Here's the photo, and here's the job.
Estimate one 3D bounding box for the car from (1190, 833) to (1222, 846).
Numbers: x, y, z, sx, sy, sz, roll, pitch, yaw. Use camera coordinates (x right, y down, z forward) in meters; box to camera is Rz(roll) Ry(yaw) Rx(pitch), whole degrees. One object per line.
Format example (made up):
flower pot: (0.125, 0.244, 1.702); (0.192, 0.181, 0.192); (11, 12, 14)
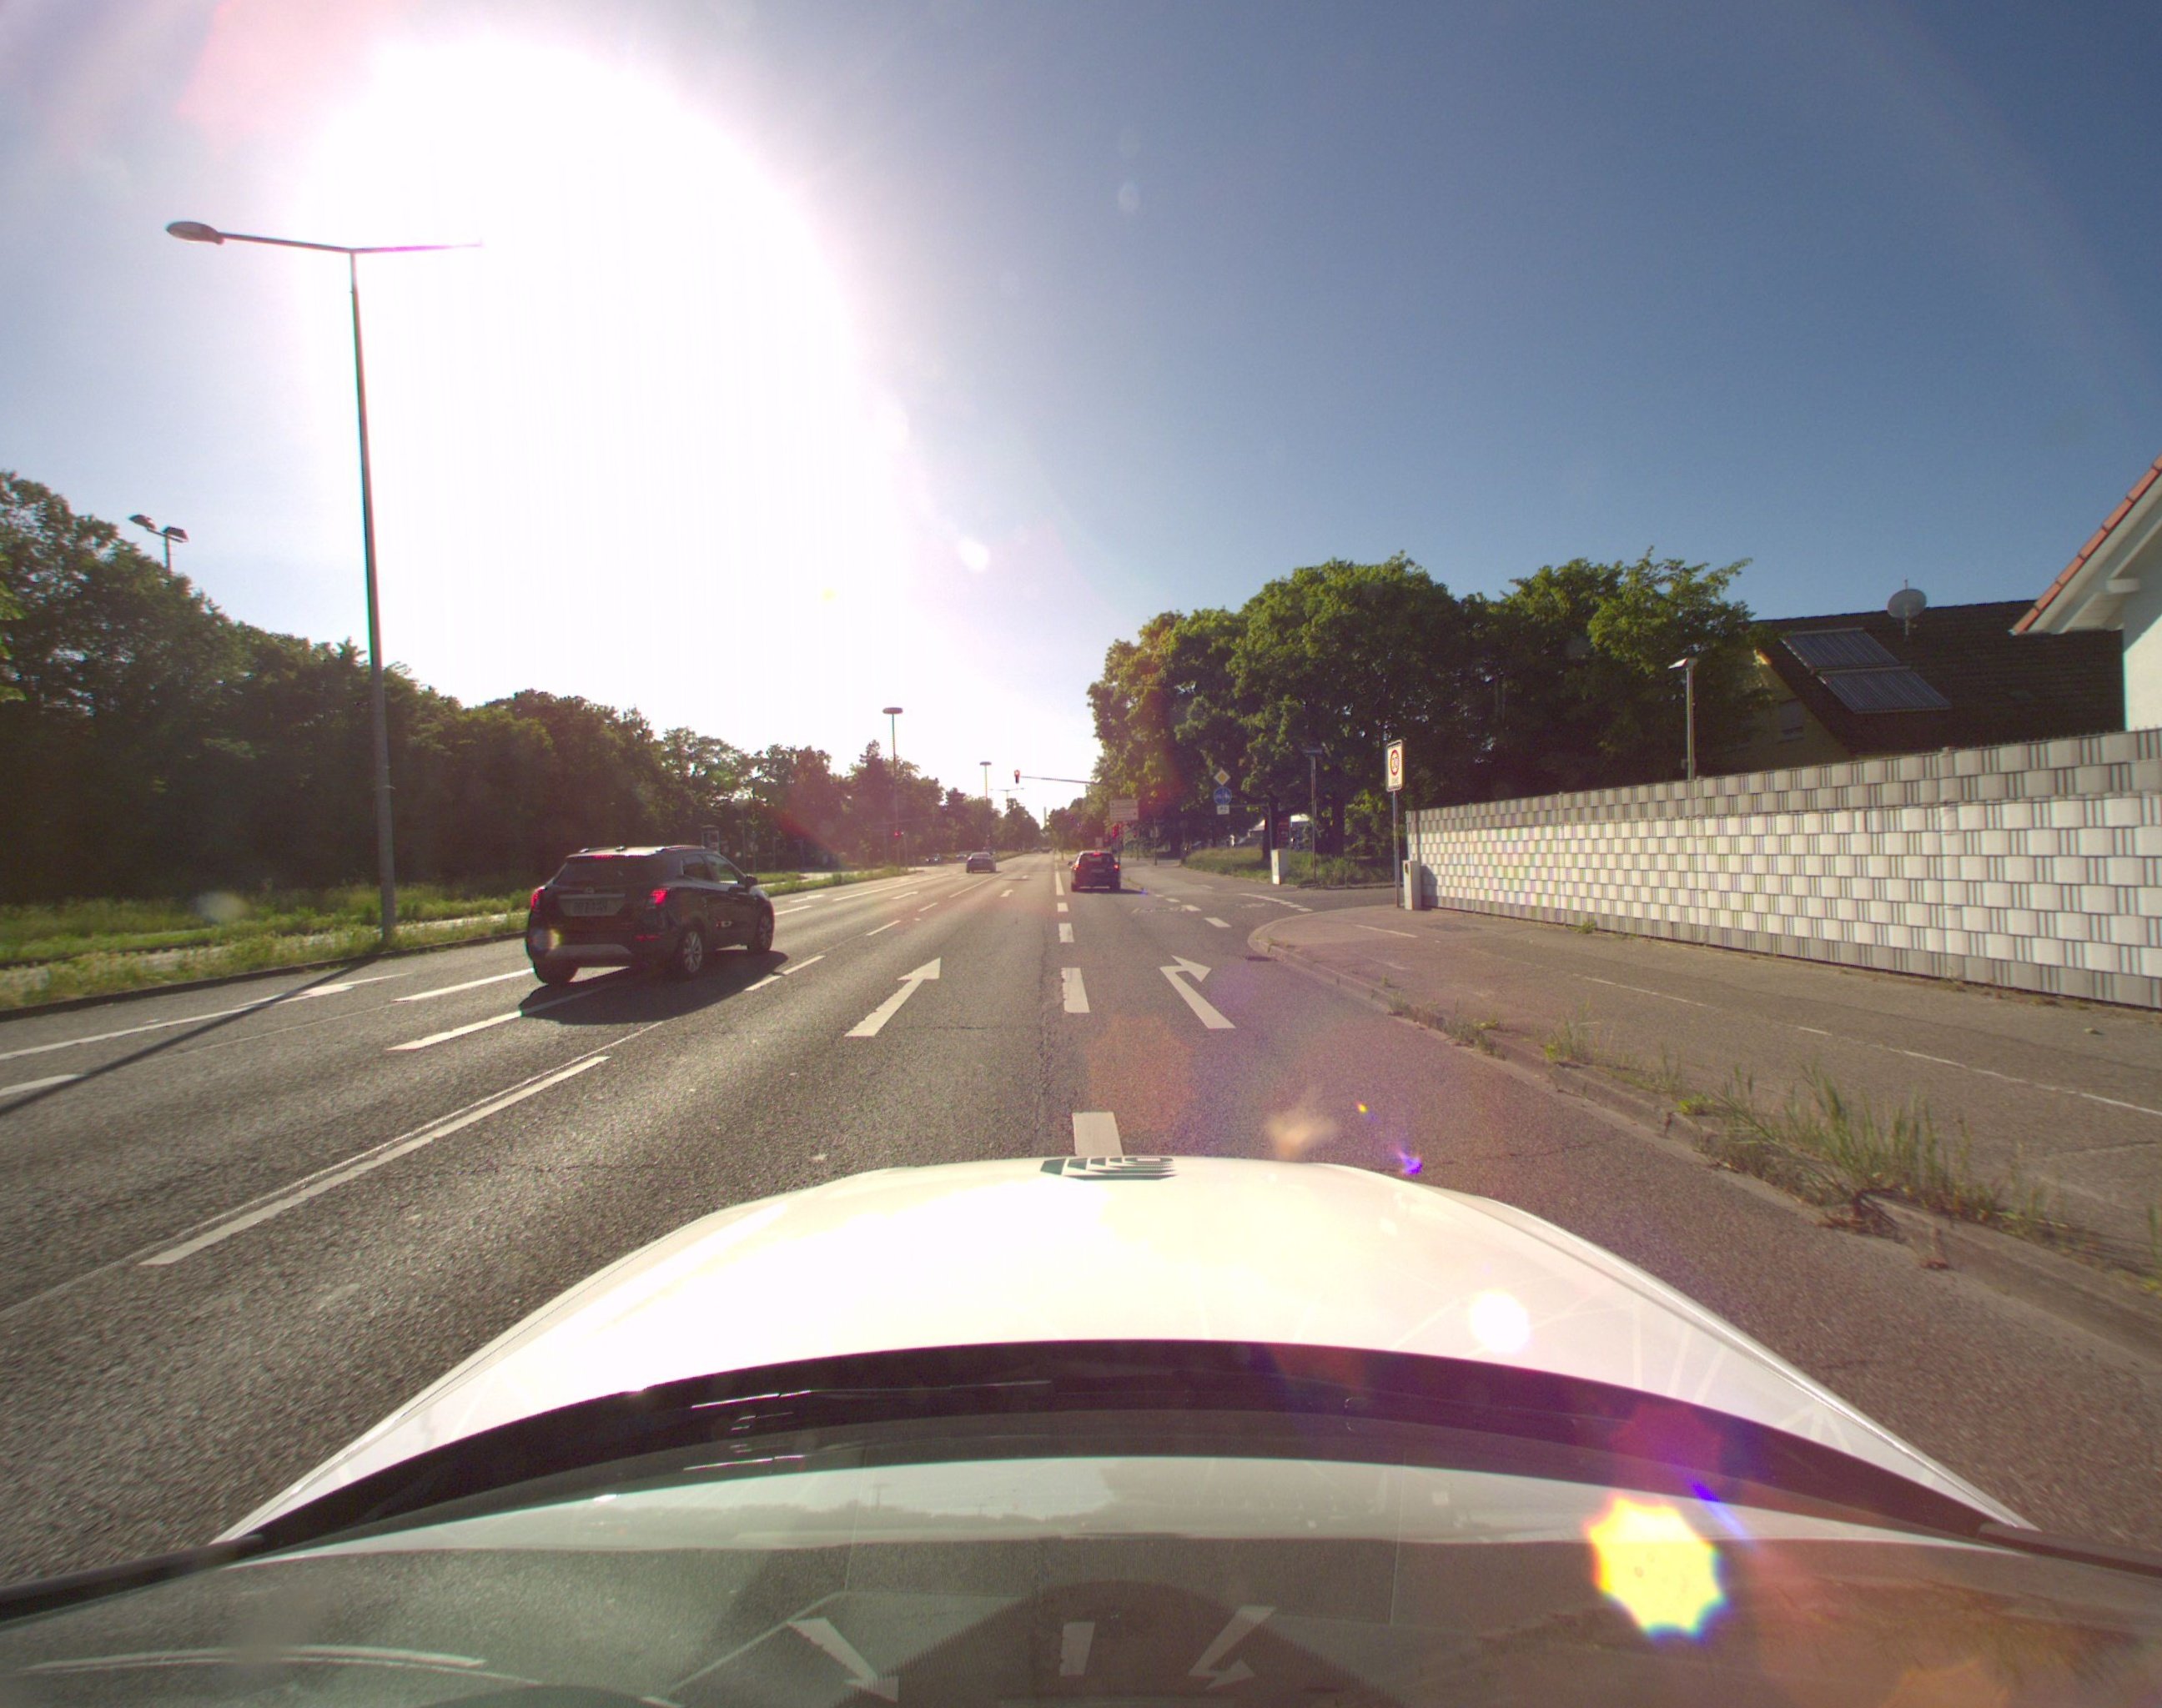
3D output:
car: (15.877, -1.871, 103.157); (3.864, 1.563, 1.786); (-1, 0, -34)

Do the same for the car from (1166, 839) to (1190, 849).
car: (16.532, -1.673, 138.677); (3.705, 1.685, 1.701); (0, 0, -5)

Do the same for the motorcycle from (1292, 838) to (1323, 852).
motorcycle: (20.632, -0.826, 74.169); (2.705, 1.270, 0.837); (0, 0, 14)

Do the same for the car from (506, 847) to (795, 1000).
car: (-5.583, 0.751, 11.308); (1.691, 1.632, 4.415); (-2, 1, -2)

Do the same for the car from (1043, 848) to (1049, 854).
car: (-9.365, -0.775, 218.360); (1.728, 1.585, 3.837); (0, 0, -2)

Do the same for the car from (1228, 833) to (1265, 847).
car: (19.201, -1.640, 94.240); (3.850, 1.611, 1.792); (0, 0, -21)

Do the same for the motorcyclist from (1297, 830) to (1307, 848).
motorcyclist: (20.136, -1.368, 74.263); (0.854, 1.680, 0.837); (0, 0, 14)

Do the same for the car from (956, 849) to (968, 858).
car: (-22.625, -0.074, 154.931); (1.859, 1.684, 3.997); (0, 0, -2)

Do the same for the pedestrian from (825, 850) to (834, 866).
pedestrian: (-29.949, 0.483, 96.972); (0.842, 1.835, 0.550); (-2, 0, 2)

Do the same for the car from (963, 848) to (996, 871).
car: (-7.182, 0.374, 57.898); (1.884, 1.552, 3.997); (-3, 0, -2)

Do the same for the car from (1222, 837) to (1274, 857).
car: (15.357, -0.657, 75.023); (4.591, 1.574, 2.005); (-3, 0, 9)

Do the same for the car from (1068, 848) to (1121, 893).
car: (0.442, 0.572, 30.081); (1.751, 1.509, 3.805); (-2, 0, -2)

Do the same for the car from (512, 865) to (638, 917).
car: (-18.335, 1.277, 29.761); (1.907, 1.703, 4.405); (-1, 0, -1)

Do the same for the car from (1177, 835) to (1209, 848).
car: (14.509, -1.624, 105.465); (3.733, 1.685, 1.689); (-1, 0, -28)

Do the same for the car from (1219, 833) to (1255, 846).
car: (18.475, -1.680, 96.259); (3.850, 1.482, 1.792); (0, 0, -21)

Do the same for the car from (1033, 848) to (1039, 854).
car: (-13.668, -0.962, 247.777); (1.821, 1.615, 3.834); (-1, -3, -4)

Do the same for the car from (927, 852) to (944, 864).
car: (-21.157, 0.503, 118.582); (1.859, 1.684, 4.257); (0, 0, -2)
